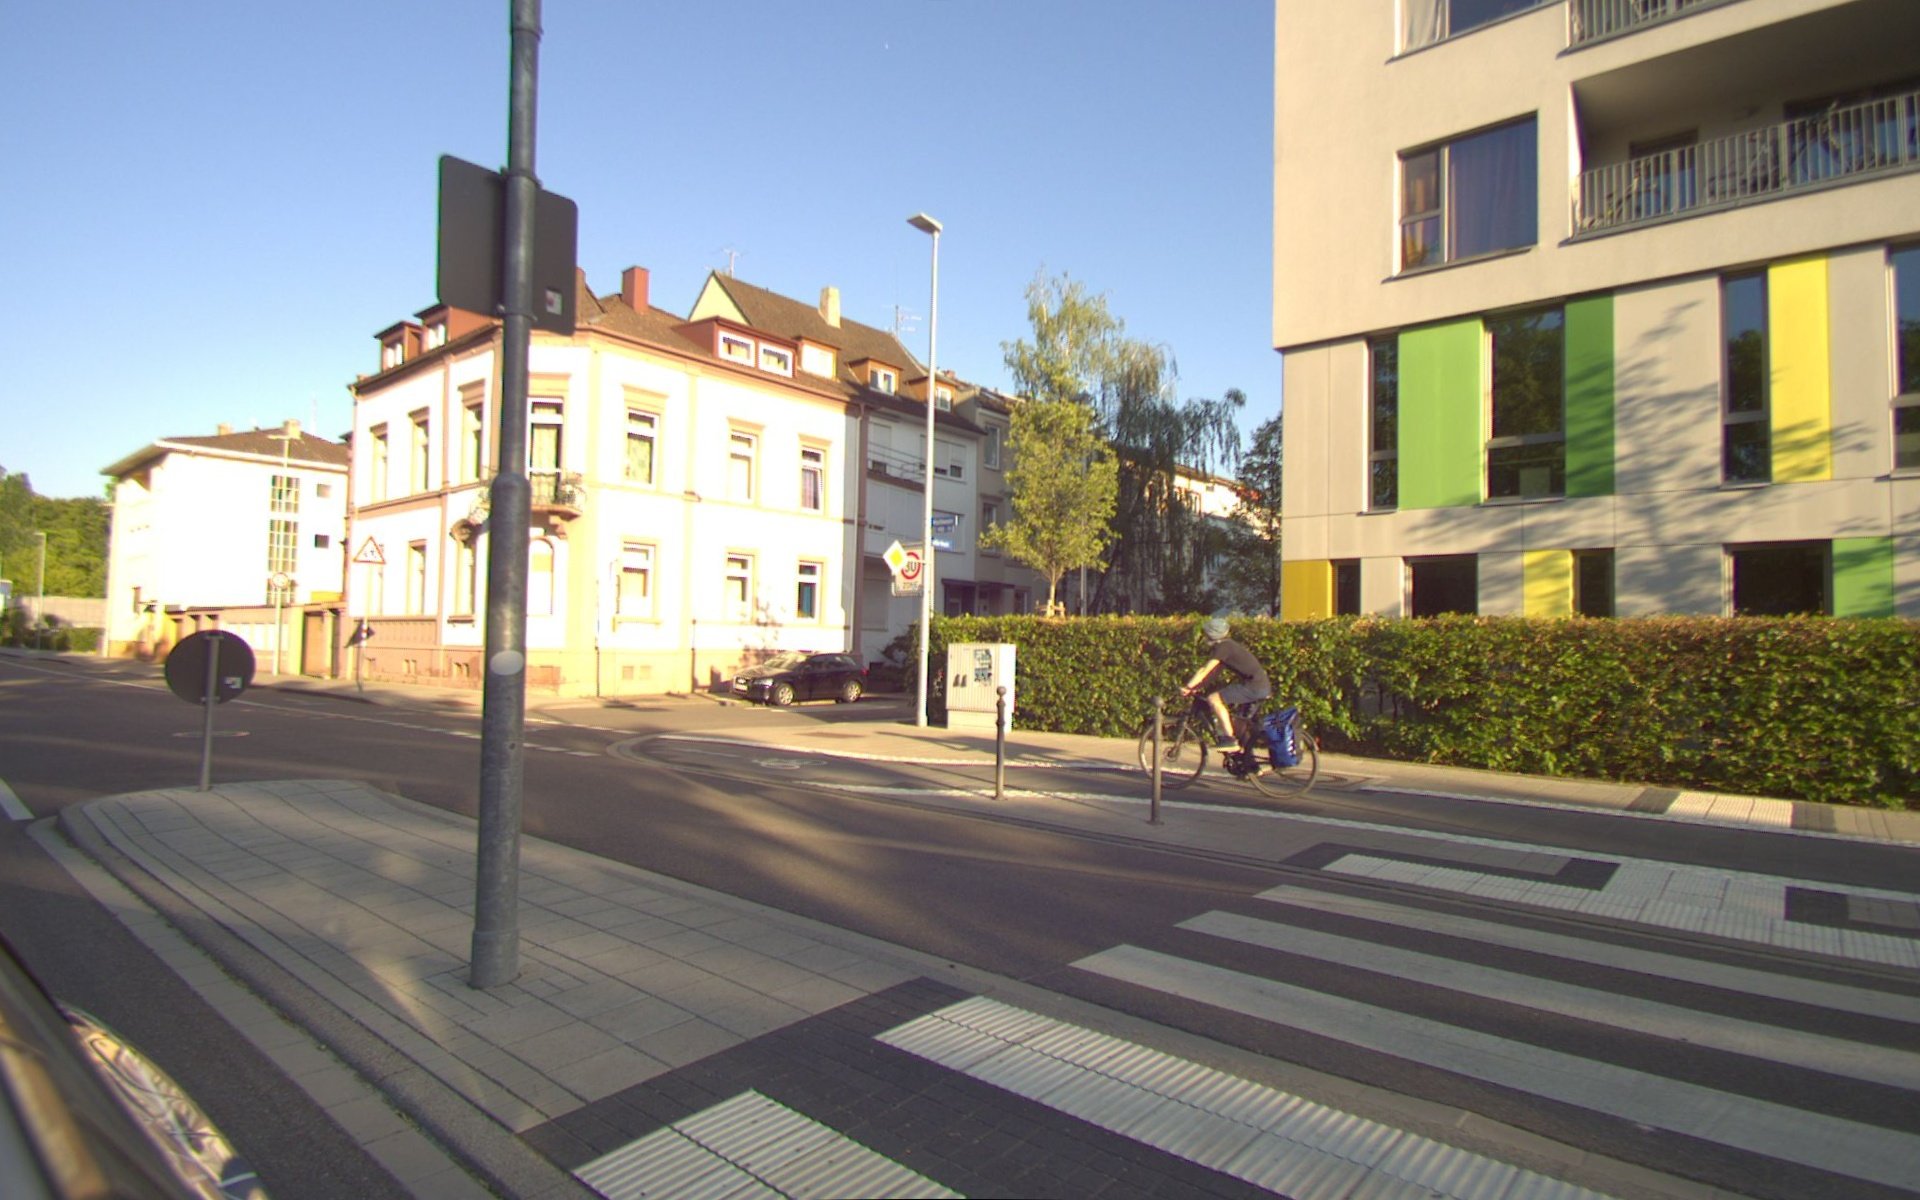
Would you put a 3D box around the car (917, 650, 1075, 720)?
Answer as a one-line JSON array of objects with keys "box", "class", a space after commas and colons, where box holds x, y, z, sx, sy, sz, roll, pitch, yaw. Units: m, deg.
[{"box": [0.964, 2.079, 25.274, 1.819, 1.449, 3.864, 5, 0, 42], "class": "car"}]

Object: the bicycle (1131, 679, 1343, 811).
[{"box": [2.631, 1.338, 9.741, 1.882, 1.086, 0.627, -2, -4, 40], "class": "bicycle"}]

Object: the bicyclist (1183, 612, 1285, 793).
[{"box": [2.641, 0.961, 9.761, 0.757, 1.657, 0.620, -2, -4, 40], "class": "bicyclist"}]

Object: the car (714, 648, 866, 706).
[{"box": [-4.651, 2.091, 28.049, 1.902, 1.449, 3.867, -2, -4, 39], "class": "car"}]
